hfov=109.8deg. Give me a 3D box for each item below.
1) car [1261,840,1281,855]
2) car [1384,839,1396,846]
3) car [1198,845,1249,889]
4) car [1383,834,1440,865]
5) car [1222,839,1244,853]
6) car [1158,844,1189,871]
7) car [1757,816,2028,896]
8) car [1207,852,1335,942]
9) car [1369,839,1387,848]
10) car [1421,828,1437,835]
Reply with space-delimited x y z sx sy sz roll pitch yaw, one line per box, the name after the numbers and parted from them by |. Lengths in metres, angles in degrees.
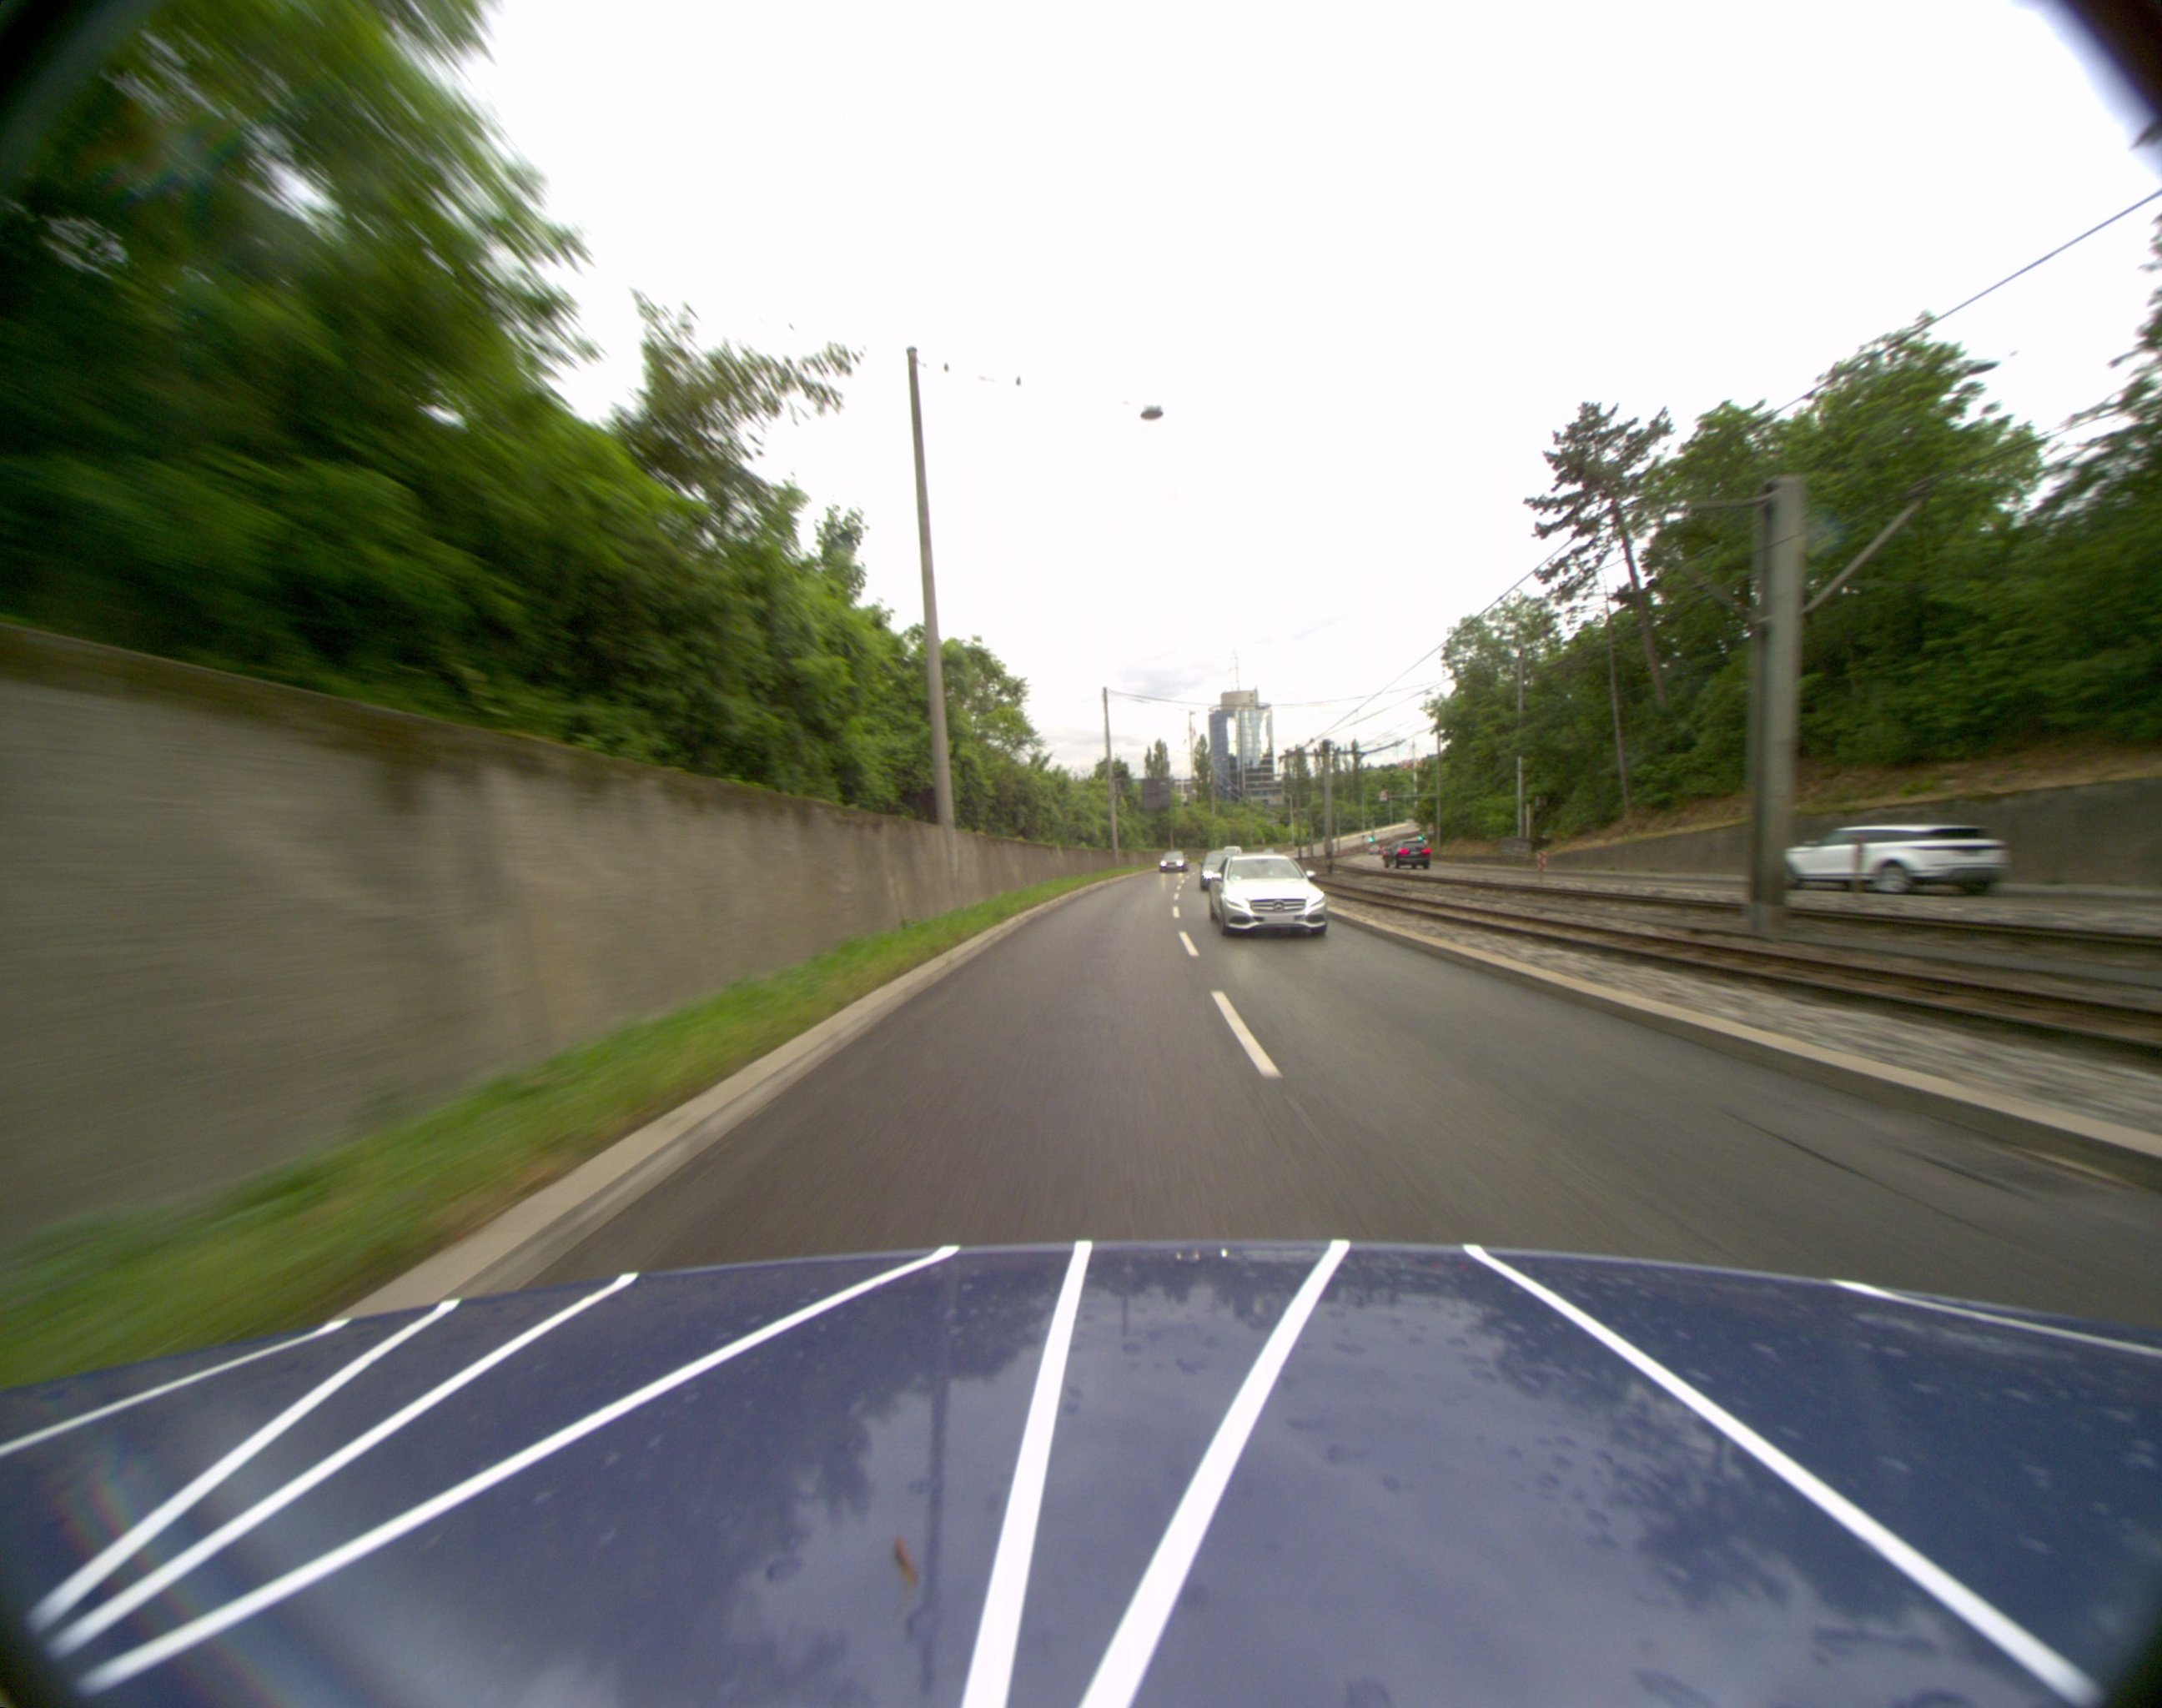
26.595 -0.988 106.284 1.995 2.002 4.501 -1 1 23 | car
52.060 -1.953 127.957 1.665 1.193 4.469 -2 0 25 | car
5.382 0.448 29.041 1.728 1.462 3.890 -3 1 9 | car
20.550 -0.307 47.442 2.237 1.820 5.141 -1 1 12 | car
19.070 -1.013 95.130 1.807 1.502 4.004 -3 3 24 | car
6.372 0.195 52.603 1.809 1.502 3.999 -4 3 4 | car
19.366 0.011 18.498 1.939 1.674 4.408 -2 1 2 | car
3.516 0.719 14.805 1.860 1.395 4.316 -1 1 6 | car
46.906 -1.684 119.844 1.906 1.450 4.470 0 1 30 | car
77.755 -5.076 169.644 2.210 1.449 4.471 -2 1 40 | car
